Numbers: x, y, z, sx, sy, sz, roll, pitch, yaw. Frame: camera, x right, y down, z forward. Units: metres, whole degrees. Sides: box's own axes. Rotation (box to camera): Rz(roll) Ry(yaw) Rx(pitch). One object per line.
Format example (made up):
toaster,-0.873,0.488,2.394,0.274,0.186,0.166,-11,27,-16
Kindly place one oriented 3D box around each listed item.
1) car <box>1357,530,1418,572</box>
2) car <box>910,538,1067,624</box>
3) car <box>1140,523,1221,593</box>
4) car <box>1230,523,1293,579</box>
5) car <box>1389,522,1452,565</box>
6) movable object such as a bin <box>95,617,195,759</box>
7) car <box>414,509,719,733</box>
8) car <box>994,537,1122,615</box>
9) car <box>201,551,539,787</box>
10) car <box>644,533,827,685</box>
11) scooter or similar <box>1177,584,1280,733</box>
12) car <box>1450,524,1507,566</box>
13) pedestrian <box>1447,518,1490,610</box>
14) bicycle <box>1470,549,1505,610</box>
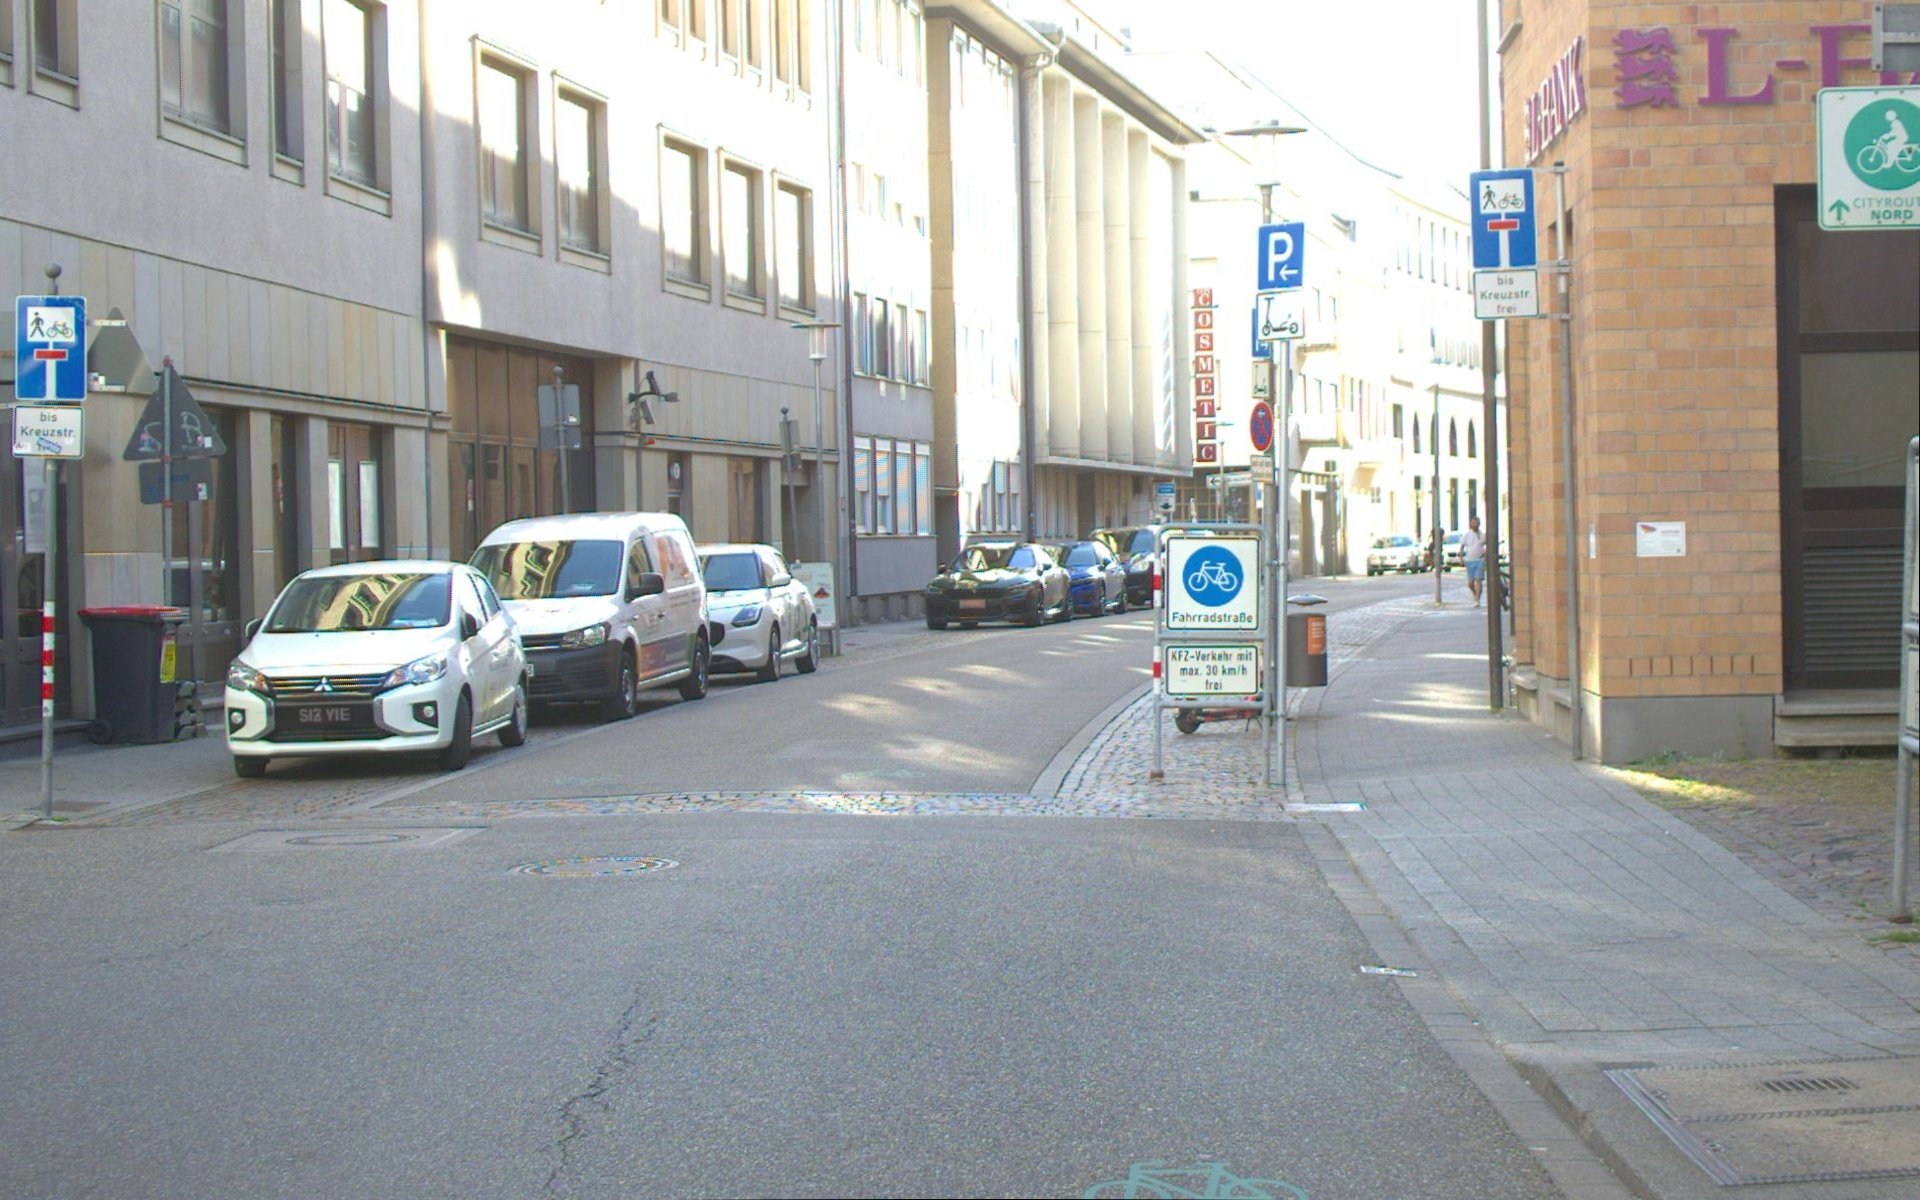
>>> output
car,14.817,-1.711,118.908,1.690,1.365,3.616,-2,1,13
car,0.519,-0.344,57.740,1.882,1.327,4.099,-1,1,11
car,4.973,-0.965,77.146,1.339,1.489,3.508,-1,1,11
car,8.292,-1.360,94.459,1.339,1.489,3.345,-1,1,11
car,15.431,-1.900,115.086,1.690,1.365,3.616,-2,1,13
movable object such as a bin,-6.284,0.672,26.529,0.608,1.057,0.713,1,1,-2
car,-3.467,0.125,31.163,1.671,1.812,4.551,-3,1,7
car,1.854,-0.465,63.943,1.725,1.336,3.998,-2,1,11
car,-4.253,0.447,25.321,1.670,1.501,3.794,-3,1,2
car,-2.393,0.062,37.322,1.271,1.501,3.401,-3,1,8
scooter or similar,2.073,0.448,26.543,0.771,1.132,0.269,1,1,4
car,18.323,-1.955,121.379,1.690,1.365,3.616,-2,1,13
pedestrian,9.654,-0.683,65.308,0.664,1.724,0.840,1,1,1
bicycle,8.972,-0.359,58.539,0.511,0.990,2.647,-1,1,7
